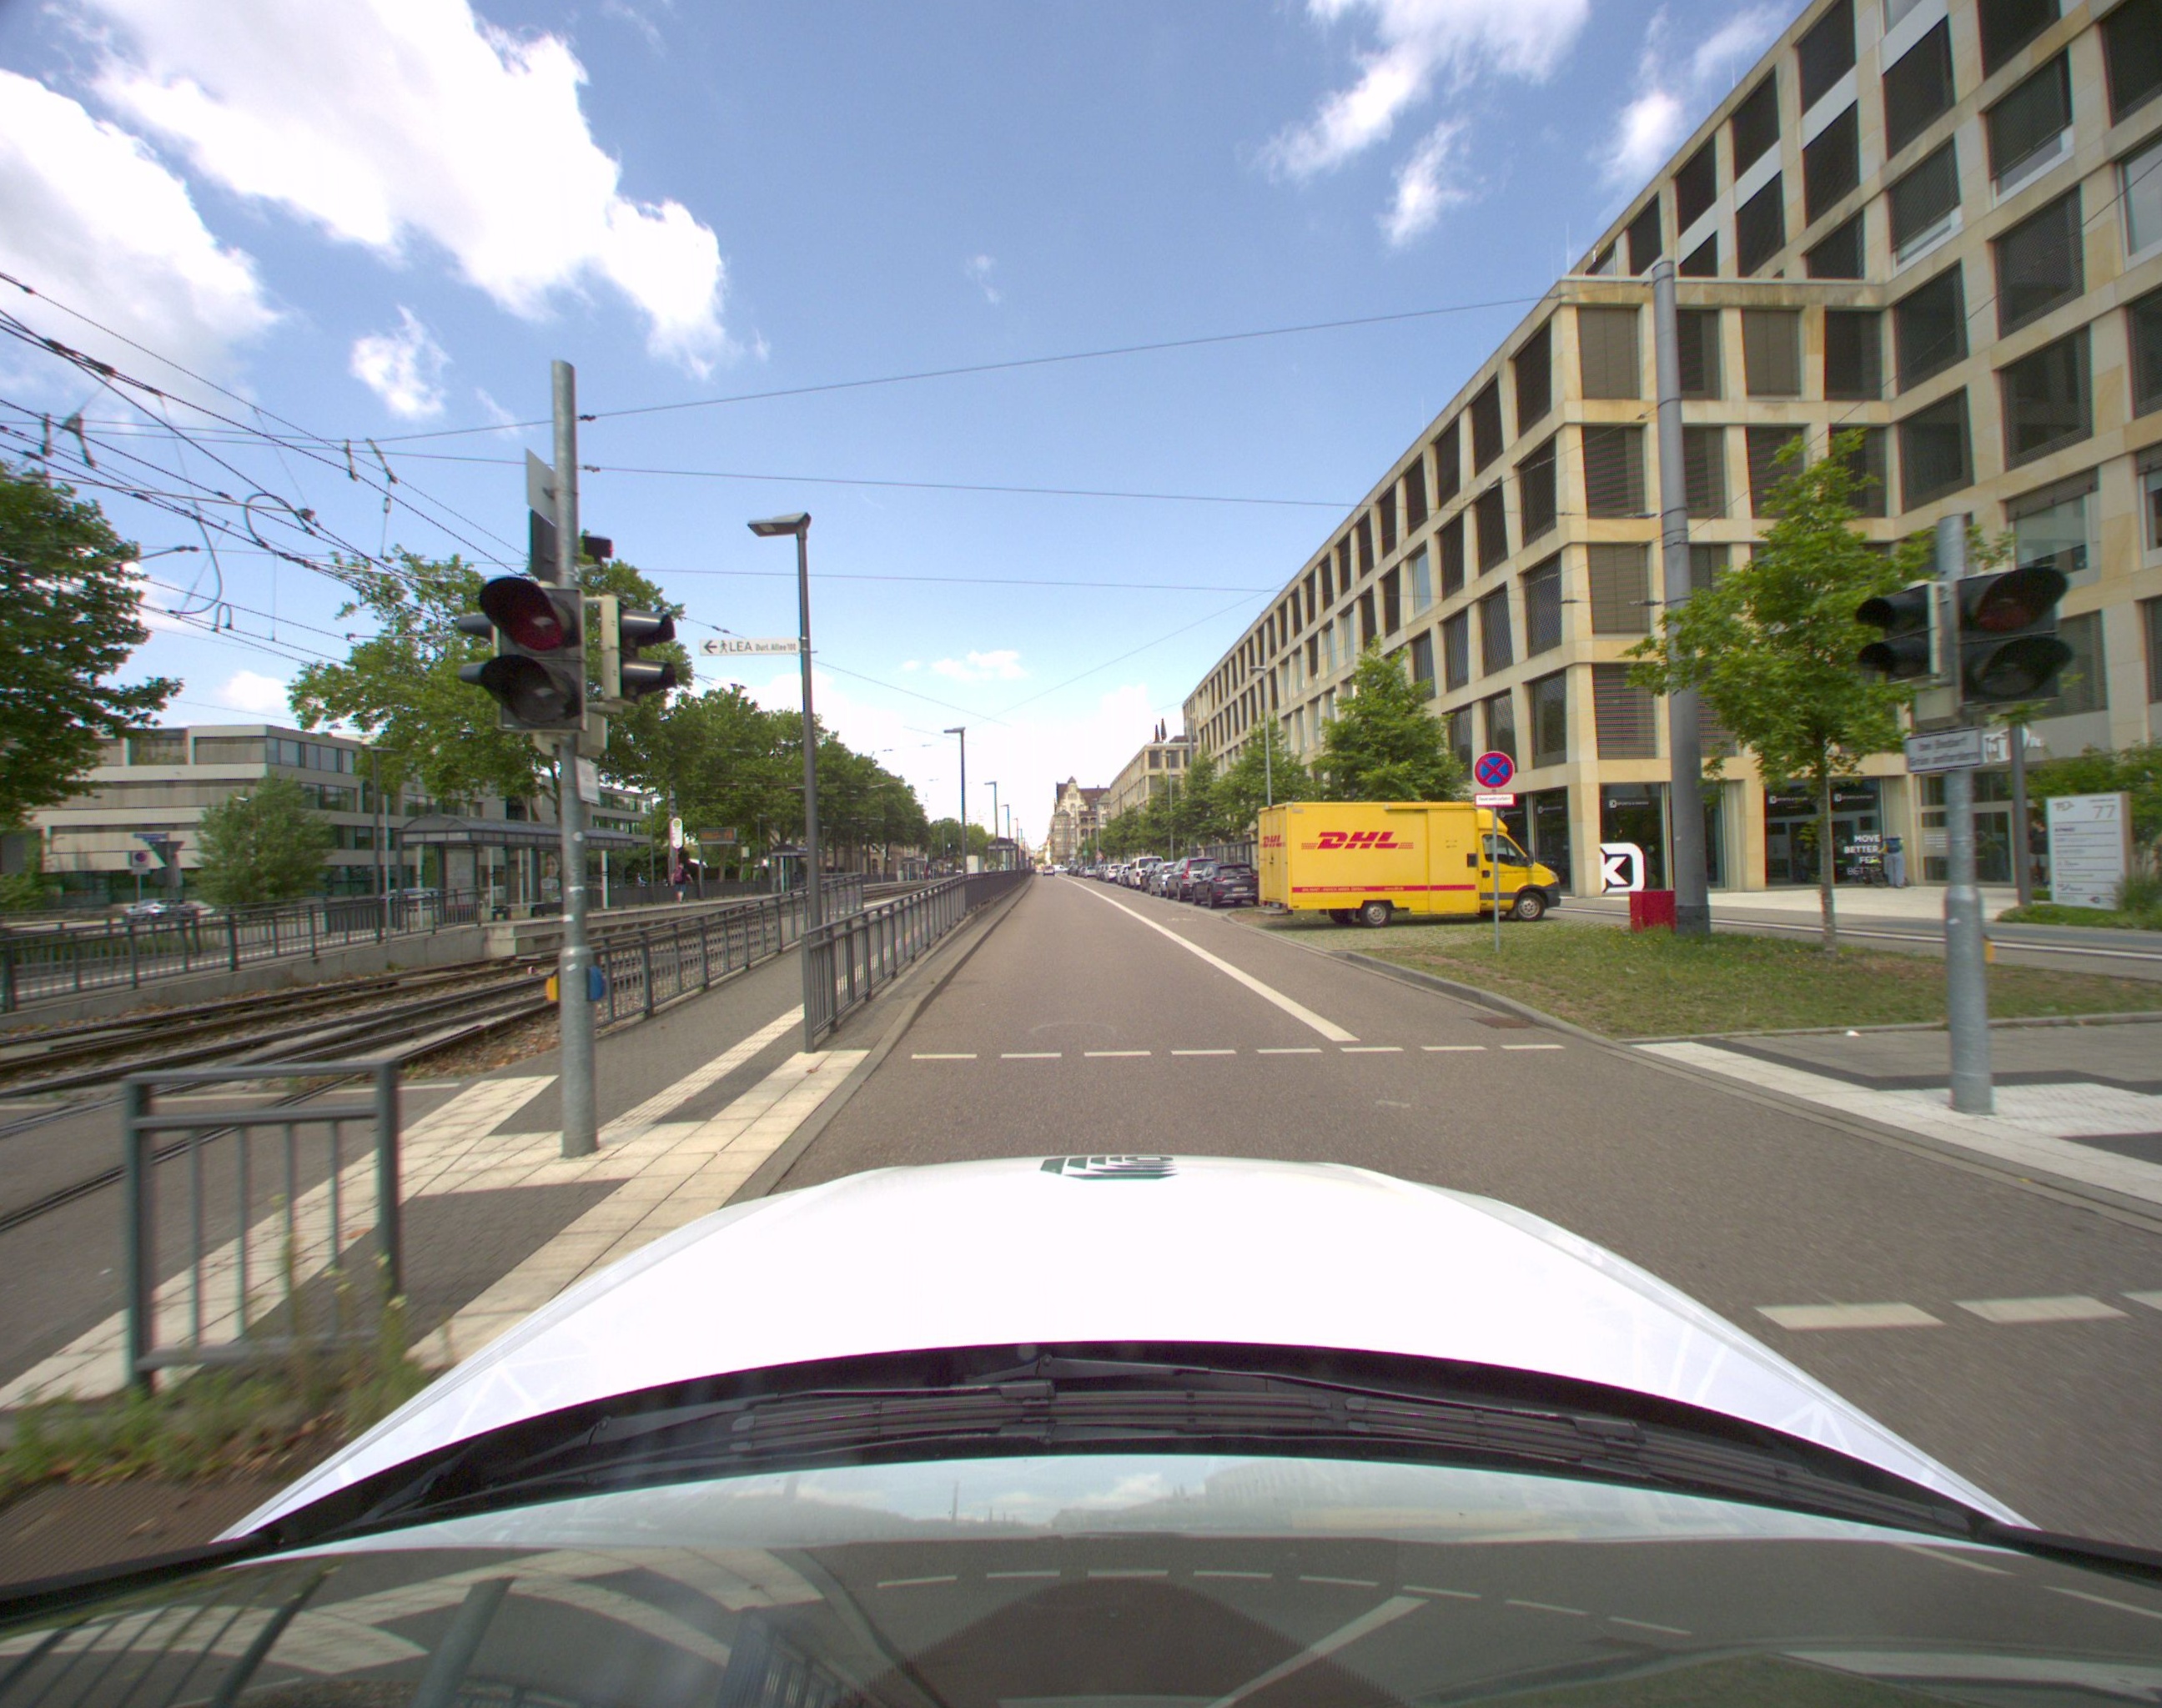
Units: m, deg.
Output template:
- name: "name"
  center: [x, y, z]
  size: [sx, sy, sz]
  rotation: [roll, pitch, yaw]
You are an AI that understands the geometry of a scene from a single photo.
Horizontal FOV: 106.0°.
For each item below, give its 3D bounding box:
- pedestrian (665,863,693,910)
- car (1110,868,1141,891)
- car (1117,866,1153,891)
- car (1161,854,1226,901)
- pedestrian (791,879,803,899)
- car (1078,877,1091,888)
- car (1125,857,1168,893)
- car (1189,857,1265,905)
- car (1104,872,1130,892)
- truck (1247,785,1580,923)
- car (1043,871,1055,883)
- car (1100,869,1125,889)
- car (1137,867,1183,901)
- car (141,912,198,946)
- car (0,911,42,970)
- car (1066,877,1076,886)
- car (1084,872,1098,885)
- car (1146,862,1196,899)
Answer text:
- name: "pedestrian"
  center: [-16.118, 1.299, 32.681]
  size: [0.705, 1.845, 0.863]
  rotation: [-1, -3, -4]
- name: "car"
  center: [3.315, 1.949, 60.928]
  size: [1.789, 1.530, 4.152]
  rotation: [-3, -3, -3]
- name: "car"
  center: [3.660, 1.694, 55.668]
  size: [1.878, 1.487, 4.556]
  rotation: [-3, -3, -3]
- name: "car"
  center: [4.575, 1.036, 33.780]
  size: [1.765, 1.768, 4.832]
  rotation: [-2, -3, -3]
- name: "pedestrian"
  center: [-18.330, 2.238, 52.544]
  size: [0.551, 1.270, 0.767]
  rotation: [-2, -3, -2]
- name: "car"
  center: [0.470, 3.977, 114.909]
  size: [1.588, 1.435, 4.098]
  rotation: [0, -3, -5]
- name: "car"
  center: [3.978, 1.352, 50.212]
  size: [1.878, 1.939, 4.836]
  rotation: [-3, -3, -3]
- name: "car"
  center: [4.994, 1.005, 28.367]
  size: [1.687, 1.505, 4.062]
  rotation: [-2, -3, -3]
- name: "car"
  center: [2.883, 2.283, 65.935]
  size: [1.682, 1.458, 3.944]
  rotation: [-3, -3, -3]
- name: "truck"
  center: [7.650, 0.039, 19.214]
  size: [6.796, 2.868, 2.449]
  rotation: [-2, -4, -6]
- name: "car"
  center: [-5.303, 3.775, 133.160]
  size: [1.865, 1.747, 3.993]
  rotation: [0, -4, -4]
- name: "car"
  center: [2.727, 2.215, 71.146]
  size: [1.682, 1.606, 4.145]
  rotation: [-3, -3, -3]
- name: "car"
  center: [4.162, 1.646, 43.685]
  size: [1.717, 1.641, 4.520]
  rotation: [-3, -3, -3]
- name: "car"
  center: [-57.776, 4.756, 51.600]
  size: [3.948, 2.014, 2.013]
  rotation: [-4, -3, 36]
- name: "car"
  center: [-29.300, 2.285, 20.450]
  size: [1.685, 1.535, 3.652]
  rotation: [-2, -3, 0]
- name: "car"
  center: [-1.730, 4.811, 141.539]
  size: [1.441, 1.470, 4.084]
  rotation: [-4, -3, -5]
- name: "car"
  center: [1.271, 3.121, 103.629]
  size: [1.587, 1.460, 3.609]
  rotation: [0, -3, -2]
- name: "car"
  center: [4.264, 1.313, 38.927]
  size: [1.717, 1.620, 3.854]
  rotation: [-2, -3, -3]
